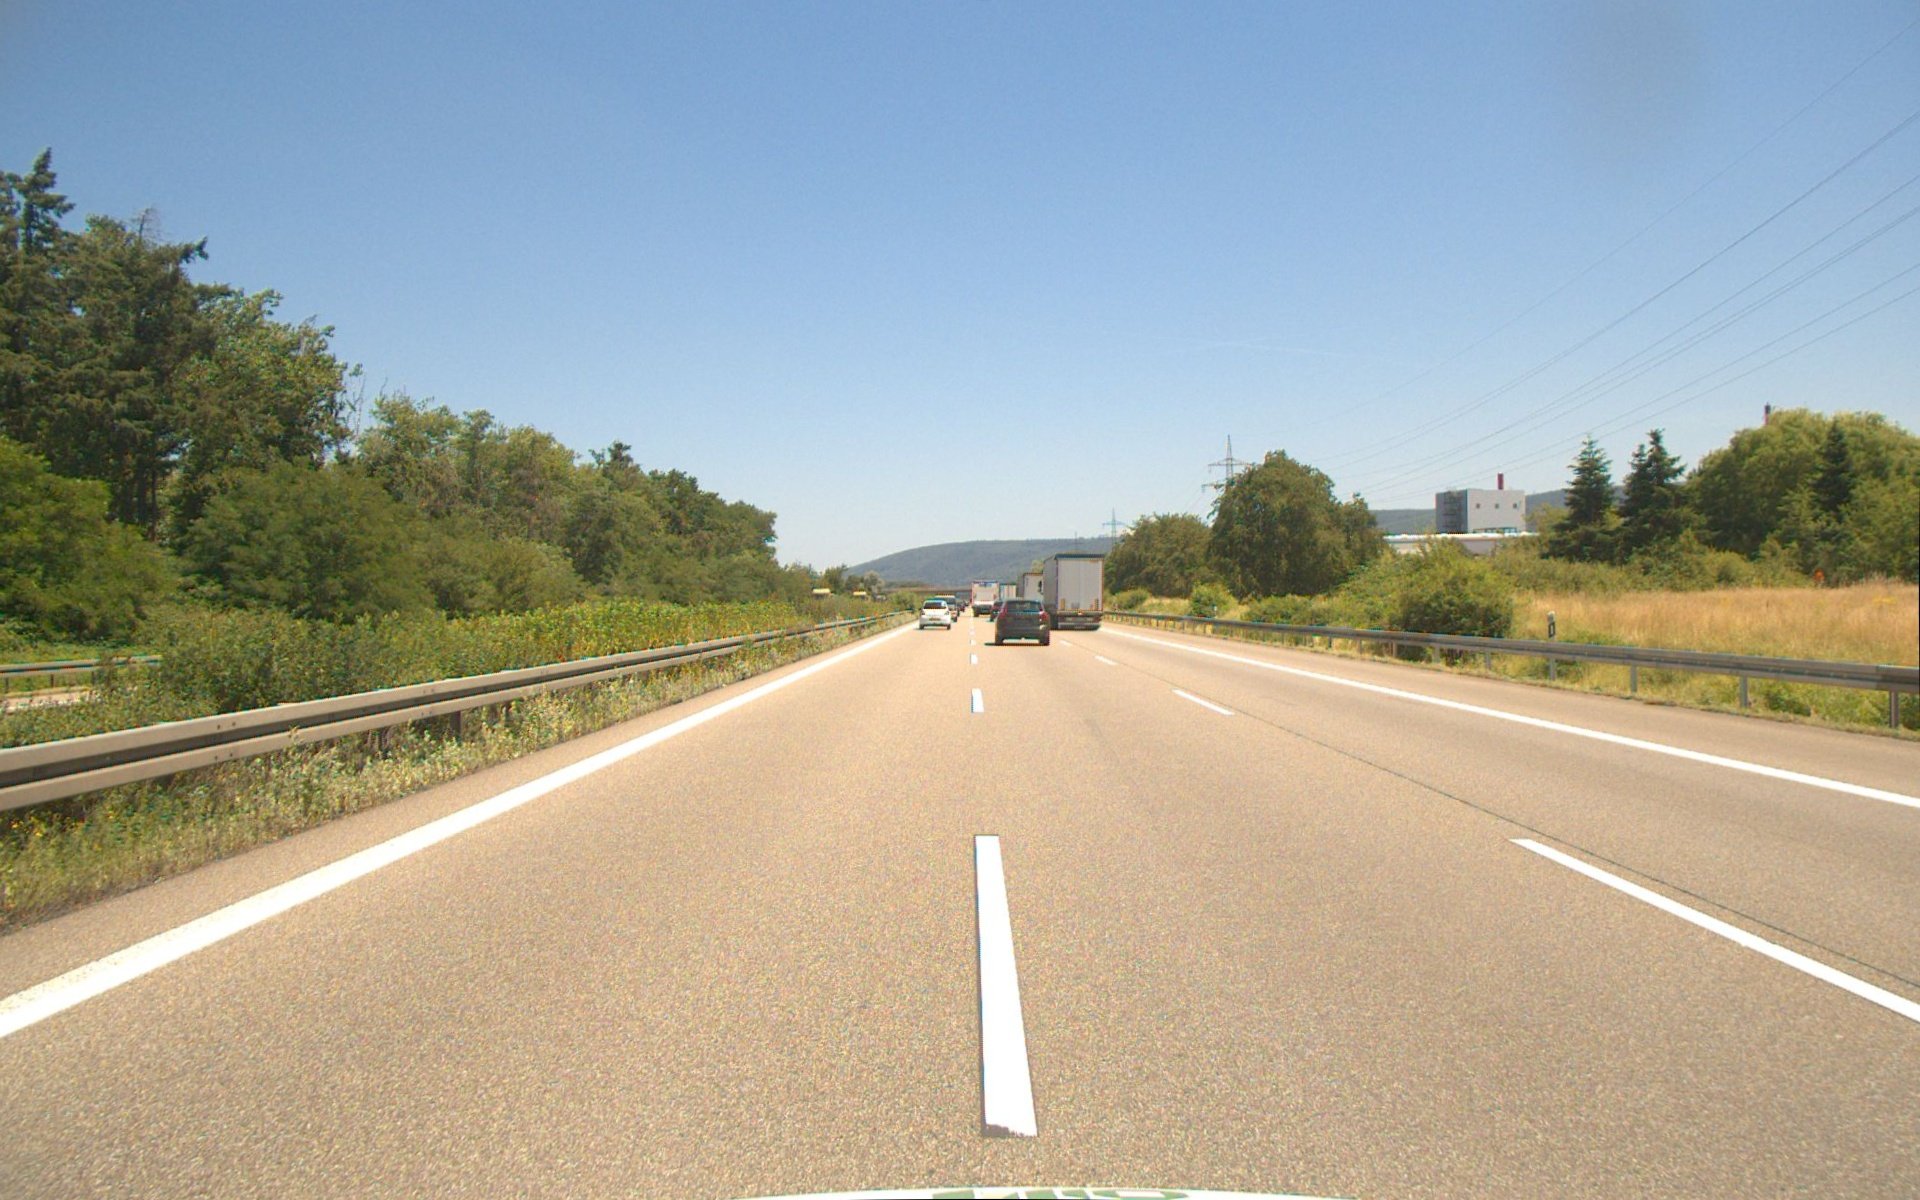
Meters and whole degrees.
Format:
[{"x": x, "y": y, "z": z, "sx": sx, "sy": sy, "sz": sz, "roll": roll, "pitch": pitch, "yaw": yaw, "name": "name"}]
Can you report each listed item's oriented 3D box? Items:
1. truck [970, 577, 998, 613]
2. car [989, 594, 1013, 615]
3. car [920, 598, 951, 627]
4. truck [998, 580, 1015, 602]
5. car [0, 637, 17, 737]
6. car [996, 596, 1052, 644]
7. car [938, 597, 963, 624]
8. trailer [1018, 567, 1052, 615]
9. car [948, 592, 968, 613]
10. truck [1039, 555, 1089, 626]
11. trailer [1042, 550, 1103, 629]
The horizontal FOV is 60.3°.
[{"x": 2.332, "y": -0.489, "z": 163.010, "sx": 2.725, "sy": 3.432, "sz": 8.127, "roll": 0, "pitch": 0, "yaw": 0, "name": "truck"}, {"x": 3.129, "y": 0.363, "z": 127.230, "sx": 1.766, "sy": 1.572, "sz": 4.000, "roll": 0, "pitch": 0, "yaw": 0, "name": "car"}, {"x": -1.308, "y": 0.651, "z": 88.674, "sx": 1.574, "sy": 1.493, "sz": 4.000, "roll": -2, "pitch": 0, "yaw": 0, "name": "car"}, {"x": 6.903, "y": -1.321, "z": 245.469, "sx": 2.176, "sy": 3.265, "sz": 10.384, "roll": -1, "pitch": 0, "yaw": 0, "name": "truck"}, {"x": -14.399, "y": 1.249, "z": 21.519, "sx": 1.815, "sy": 1.403, "sz": 4.309, "roll": -1, "pitch": 0, "yaw": -1, "name": "car"}, {"x": 2.227, "y": 0.689, "z": 58.507, "sx": 1.835, "sy": 1.652, "sz": 4.004, "roll": 0, "pitch": 0, "yaw": 0, "name": "car"}, {"x": -0.699, "y": 0.750, "z": 121.792, "sx": 1.725, "sy": 1.883, "sz": 4.000, "roll": -2, "pitch": 0, "yaw": 0, "name": "car"}, {"x": 6.987, "y": -0.783, "z": 155.871, "sx": 2.731, "sy": 4.236, "sz": 13.575, "roll": -2, "pitch": 0, "yaw": 1, "name": "trailer"}, {"x": -0.234, "y": 0.271, "z": 168.613, "sx": 1.953, "sy": 2.049, "sz": 3.999, "roll": -1, "pitch": 0, "yaw": -1, "name": "car"}, {"x": 6.303, "y": -0.532, "z": 100.704, "sx": 2.680, "sy": 4.192, "sz": 6.124, "roll": 0, "pitch": 0, "yaw": 0, "name": "truck"}, {"x": 6.249, "y": -0.542, "z": 93.566, "sx": 2.680, "sy": 4.178, "sz": 13.122, "roll": 0, "pitch": 0, "yaw": 0, "name": "trailer"}]
